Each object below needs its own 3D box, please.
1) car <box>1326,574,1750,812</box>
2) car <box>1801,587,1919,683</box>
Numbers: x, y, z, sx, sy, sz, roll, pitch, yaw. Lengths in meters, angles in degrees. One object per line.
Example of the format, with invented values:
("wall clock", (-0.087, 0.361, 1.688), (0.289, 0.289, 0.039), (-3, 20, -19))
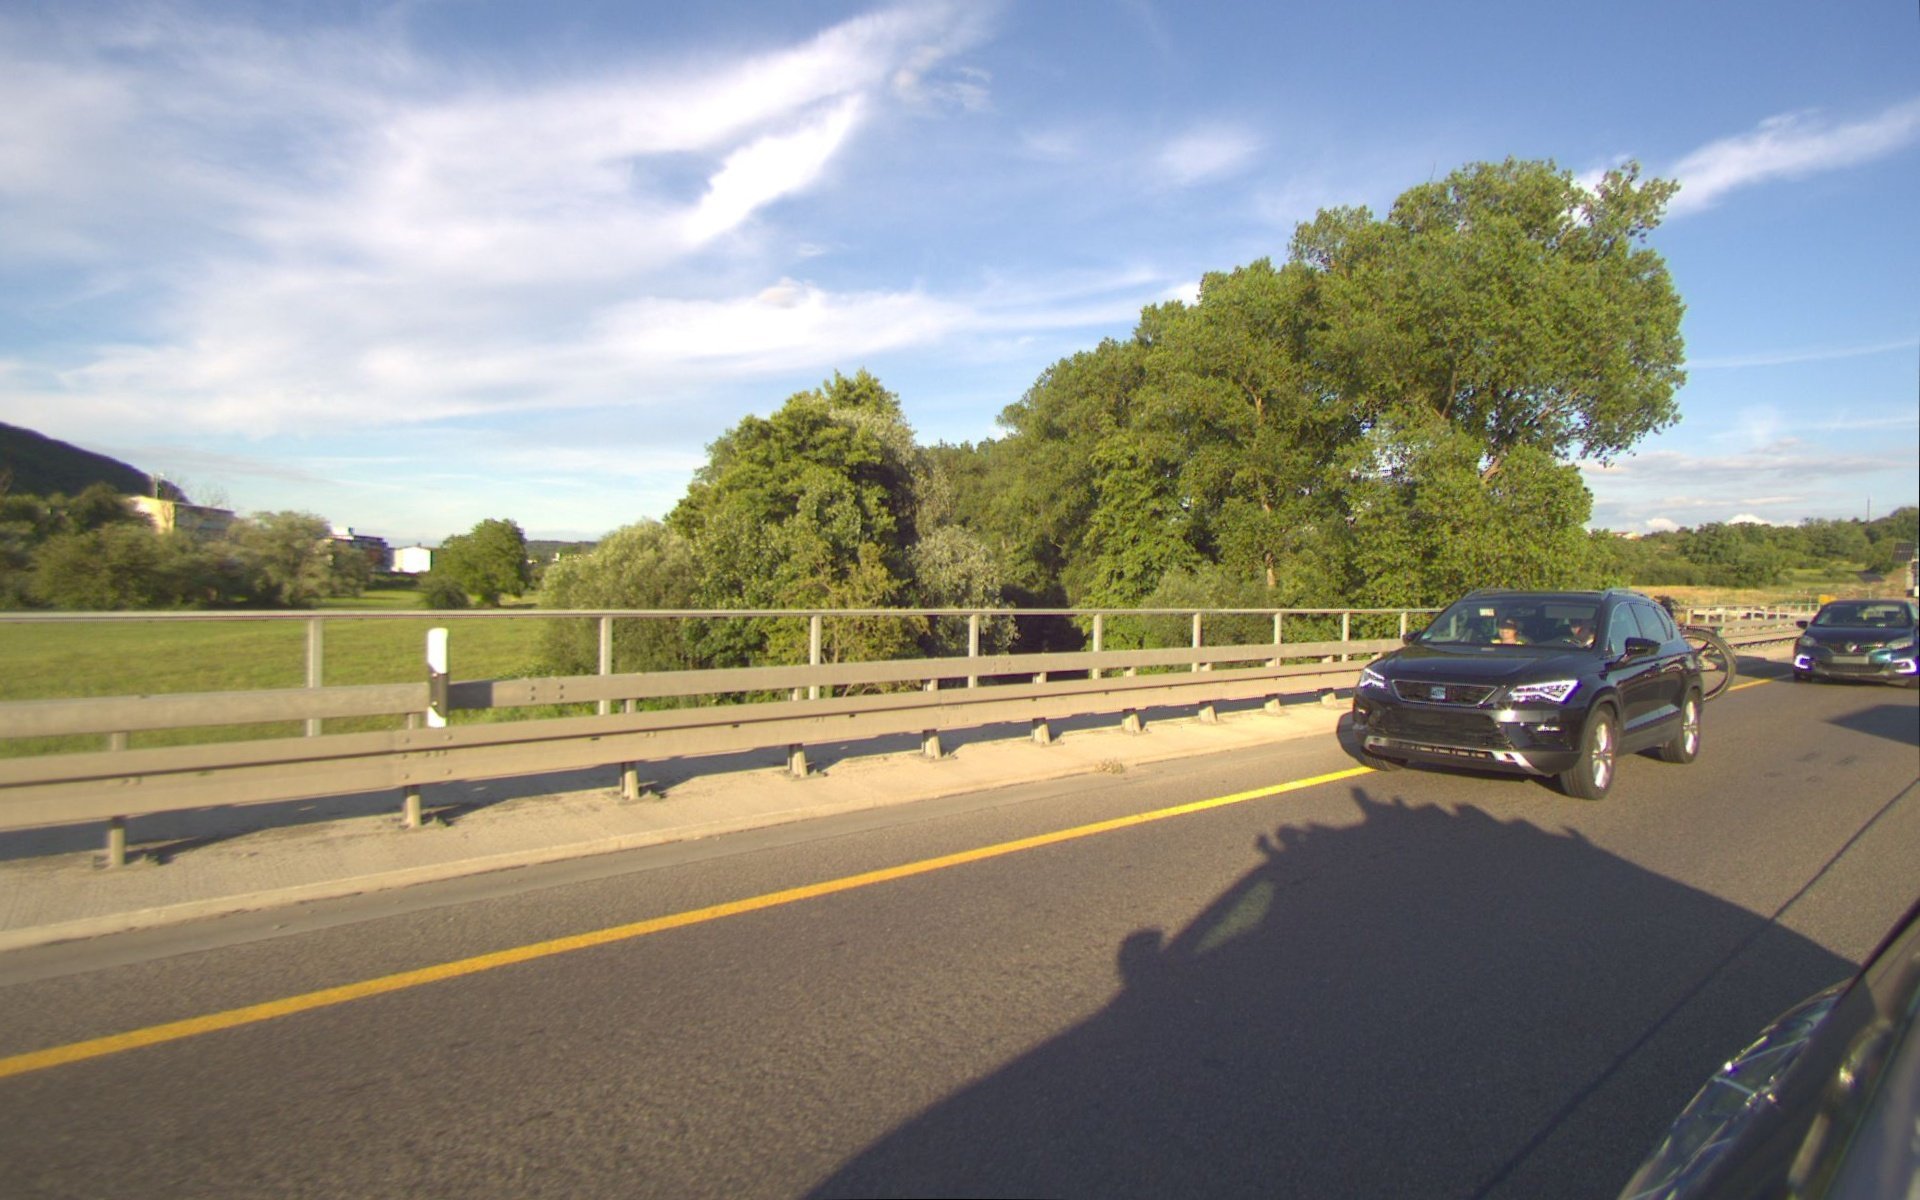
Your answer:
("car", (5.446, 0.614, 9.206), (4.879, 1.619, 1.878), (0, 1, -41))
("car", (17.132, 0.612, 18.801), (4.063, 1.606, 1.776), (1, -1, -42))
